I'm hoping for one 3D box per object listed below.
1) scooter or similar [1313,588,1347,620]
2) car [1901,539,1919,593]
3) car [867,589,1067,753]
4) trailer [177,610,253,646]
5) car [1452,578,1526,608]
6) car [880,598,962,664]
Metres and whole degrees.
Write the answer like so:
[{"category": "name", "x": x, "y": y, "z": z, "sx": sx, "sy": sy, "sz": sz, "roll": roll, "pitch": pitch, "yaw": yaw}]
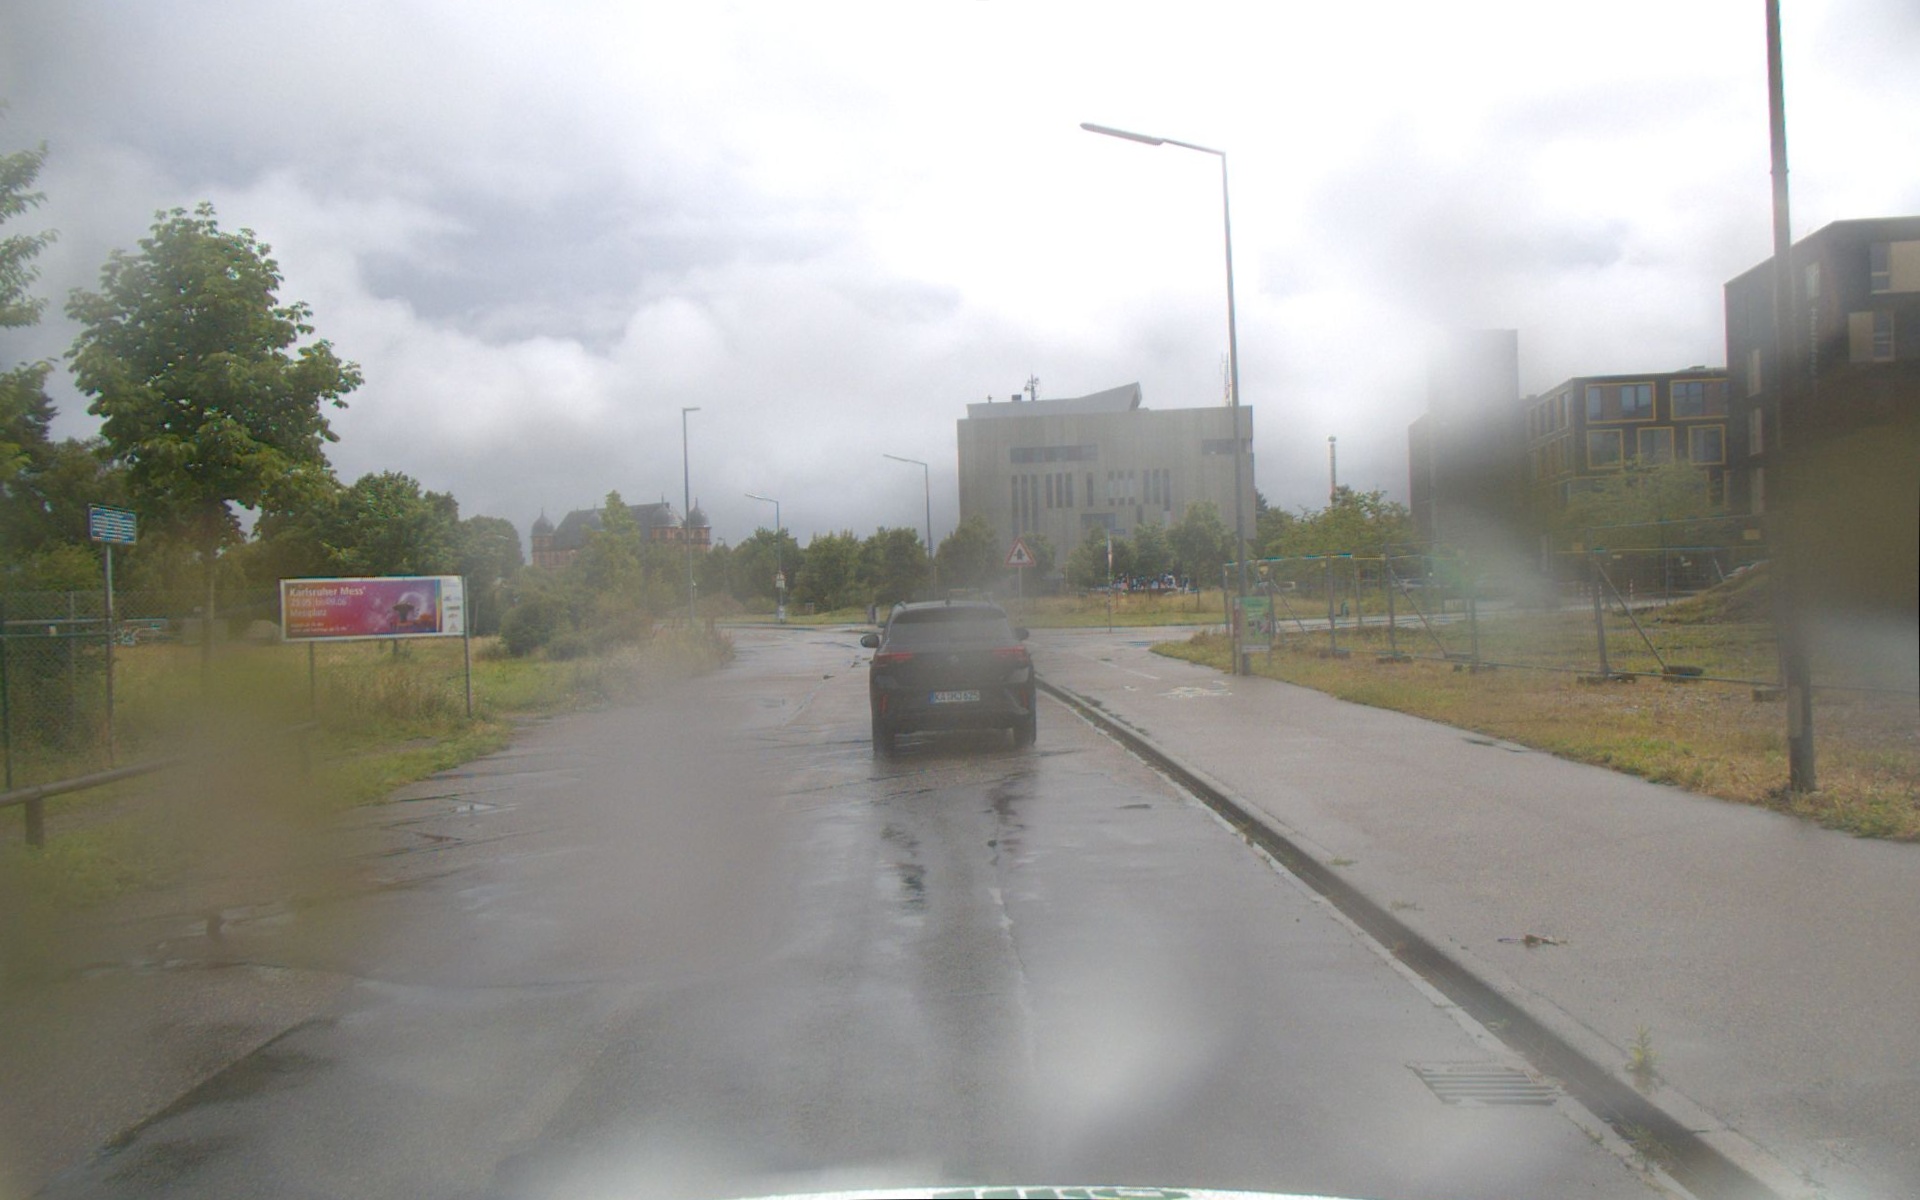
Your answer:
[{"category": "scooter or similar", "x": 14.806, "y": 0.149, "z": 66.174, "sx": 1.263, "sy": 1.207, "sz": 0.500, "roll": -4, "pitch": 2, "yaw": -23}, {"category": "car", "x": 33.423, "y": -1.073, "z": 54.311, "sx": 3.903, "sy": 1.758, "sz": 2.001, "roll": 1, "pitch": 0, "yaw": 4}, {"category": "car", "x": -0.012, "y": 0.697, "z": 18.540, "sx": 1.947, "sy": 1.546, "sz": 3.998, "roll": -2, "pitch": 1, "yaw": -2}, {"category": "trailer", "x": -46.095, "y": 1.736, "z": 102.369, "sx": 4.064, "sy": 2.126, "sz": 1.823, "roll": 0, "pitch": -1, "yaw": -34}, {"category": "car", "x": 32.962, "y": -0.439, "z": 103.103, "sx": 4.115, "sy": 1.584, "sz": 1.668, "roll": -3, "pitch": -1, "yaw": 11}, {"category": "car", "x": -1.047, "y": 0.763, "z": 42.660, "sx": 1.806, "sy": 1.467, "sz": 3.996, "roll": -5, "pitch": 0, "yaw": -4}]
